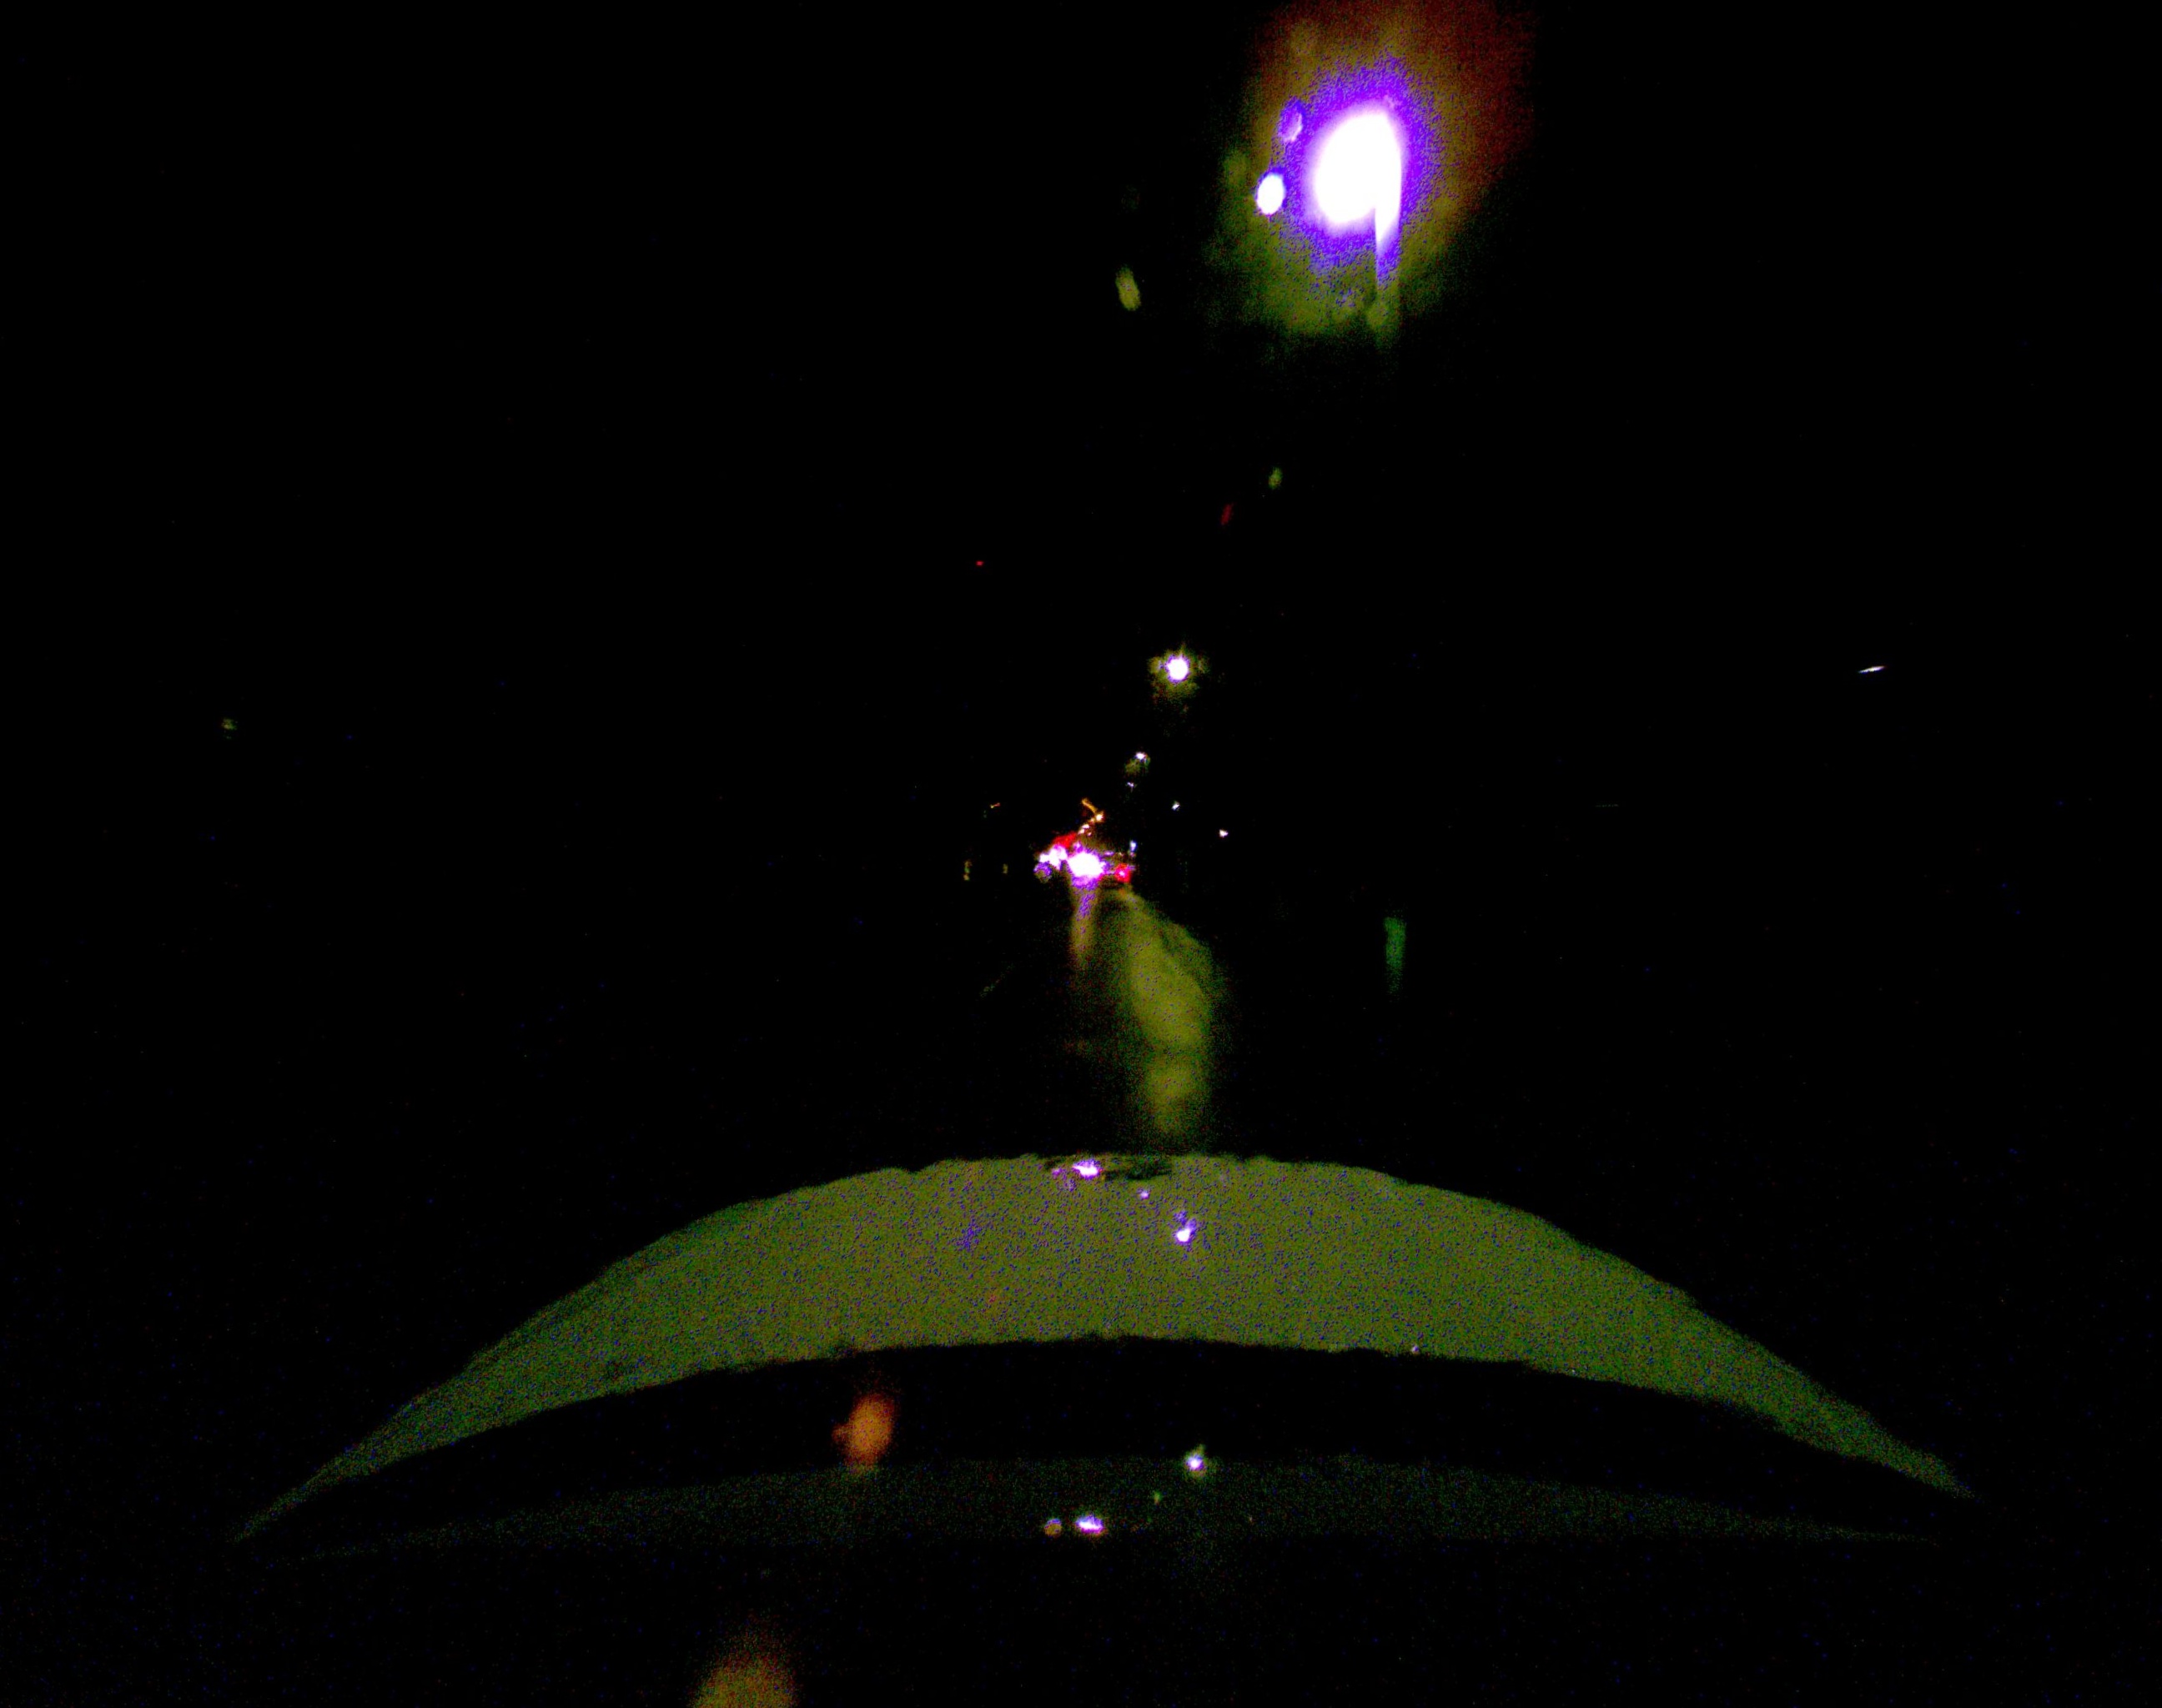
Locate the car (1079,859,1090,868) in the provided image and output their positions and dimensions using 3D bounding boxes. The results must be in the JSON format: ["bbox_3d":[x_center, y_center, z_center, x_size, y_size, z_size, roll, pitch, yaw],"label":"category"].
[{"bbox_3d":[0.668,1.662,144.710,1.738,1.433,4.003,-2,-1,3],"label":"car"}]

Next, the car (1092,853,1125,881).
[{"bbox_3d":[1.728,0.806,52.642,1.987,1.684,4.000,0,1,0],"label":"car"}]

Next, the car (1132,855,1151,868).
[{"bbox_3d":[7.528,0.917,101.232,1.785,1.449,4.788,-3,0,-1],"label":"car"}]

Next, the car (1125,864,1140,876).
[{"bbox_3d":[7.110,2.162,112.387,1.708,1.489,4.434,-2,0,-1],"label":"car"}]
